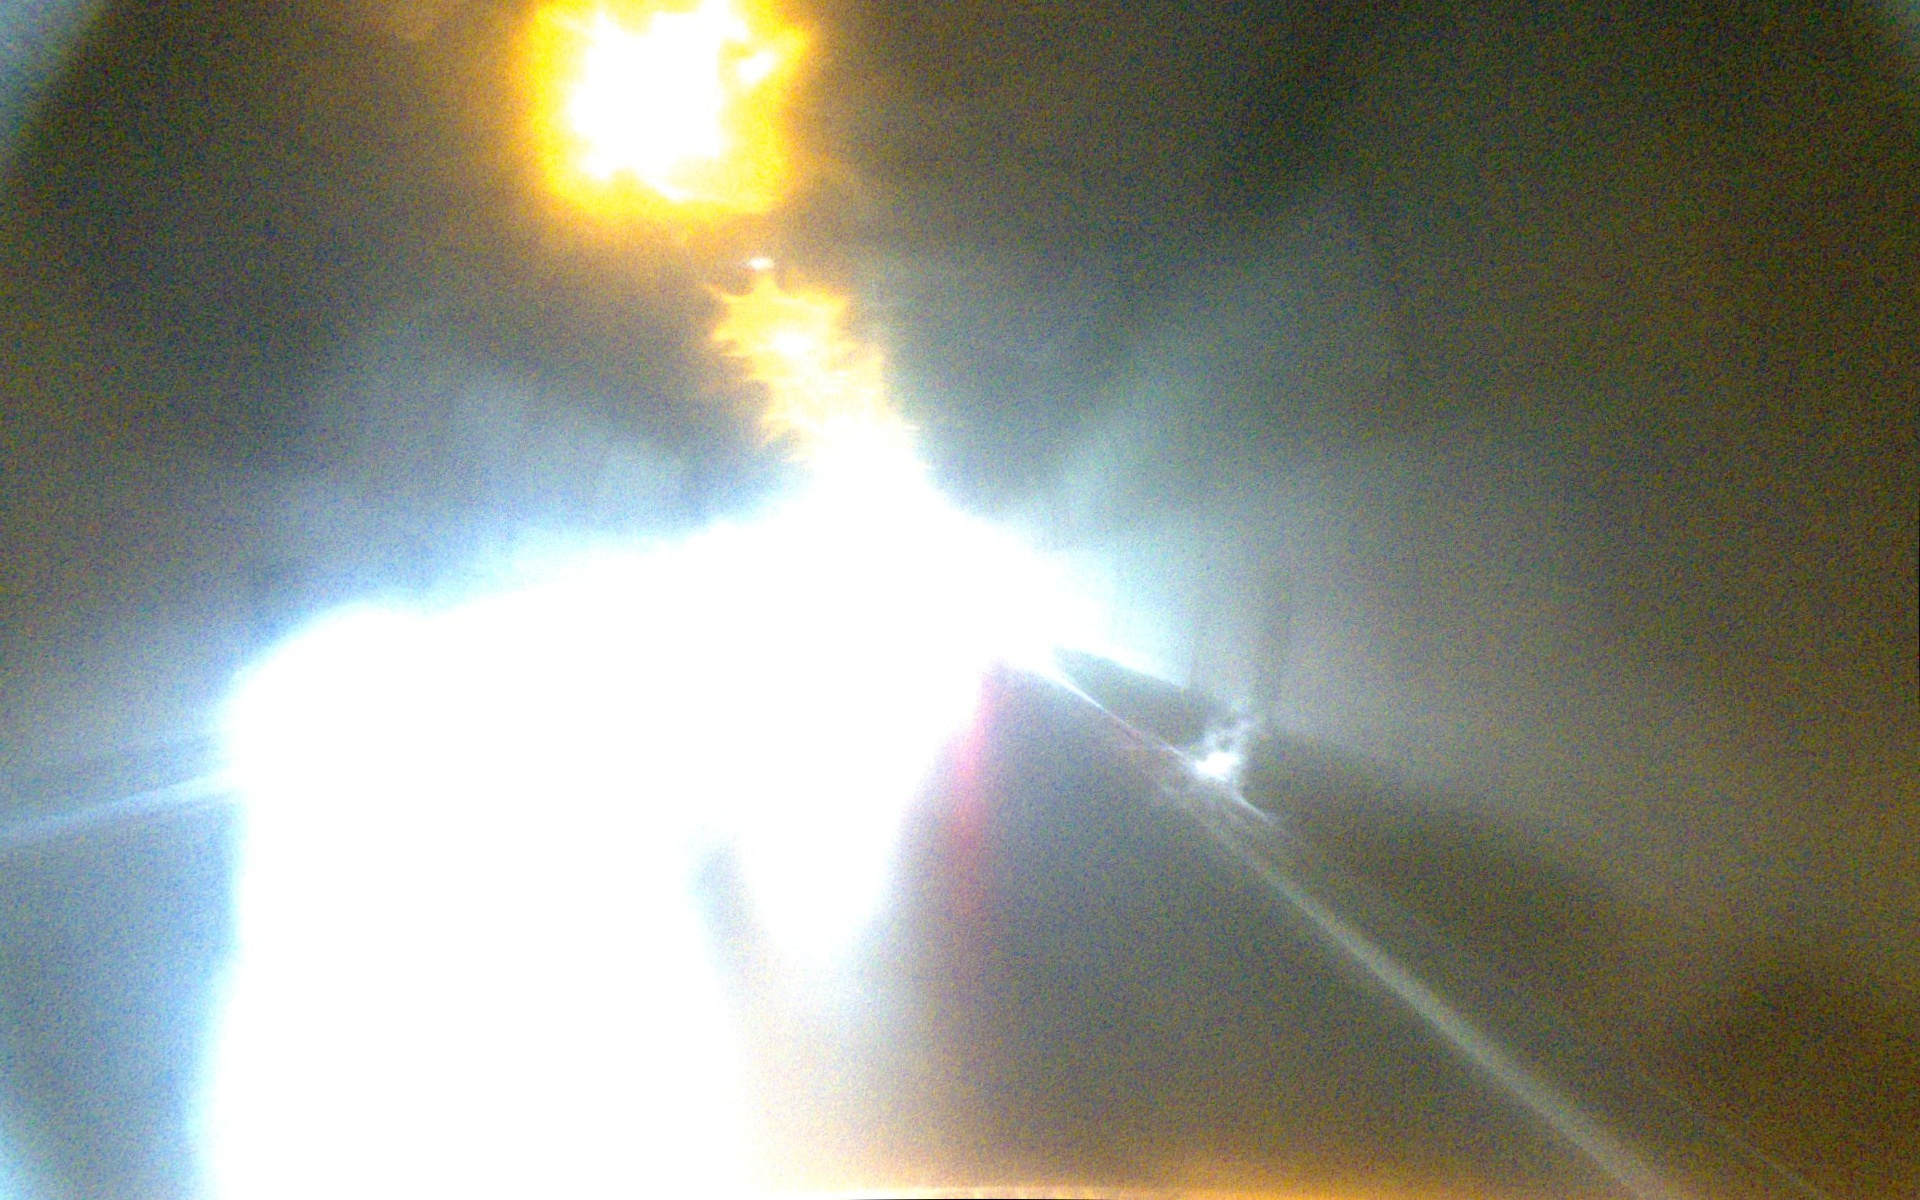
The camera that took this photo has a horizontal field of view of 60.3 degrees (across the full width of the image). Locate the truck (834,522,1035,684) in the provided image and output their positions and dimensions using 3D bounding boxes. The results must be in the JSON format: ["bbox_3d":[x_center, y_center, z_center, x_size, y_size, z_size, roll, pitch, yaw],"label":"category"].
[{"bbox_3d":[-0.498,0.015,33.609,3.463,2.740,8.954,-2,0,-1],"label":"truck"}]

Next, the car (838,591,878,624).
[{"bbox_3d":[-4.704,0.342,76.384,1.724,1.506,3.885,0,0,-2],"label":"car"}]

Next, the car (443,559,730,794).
[{"bbox_3d":[-2.907,0.531,13.591,1.537,1.660,3.729,1,0,-1],"label":"car"}]

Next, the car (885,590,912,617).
[{"bbox_3d":[-4.181,0.224,112.766,1.694,1.823,3.931,-1,0,-1],"label":"car"}]

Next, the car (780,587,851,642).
[{"bbox_3d":[-4.044,0.379,46.697,1.700,1.466,3.836,-1,1,-1],"label":"car"}]
